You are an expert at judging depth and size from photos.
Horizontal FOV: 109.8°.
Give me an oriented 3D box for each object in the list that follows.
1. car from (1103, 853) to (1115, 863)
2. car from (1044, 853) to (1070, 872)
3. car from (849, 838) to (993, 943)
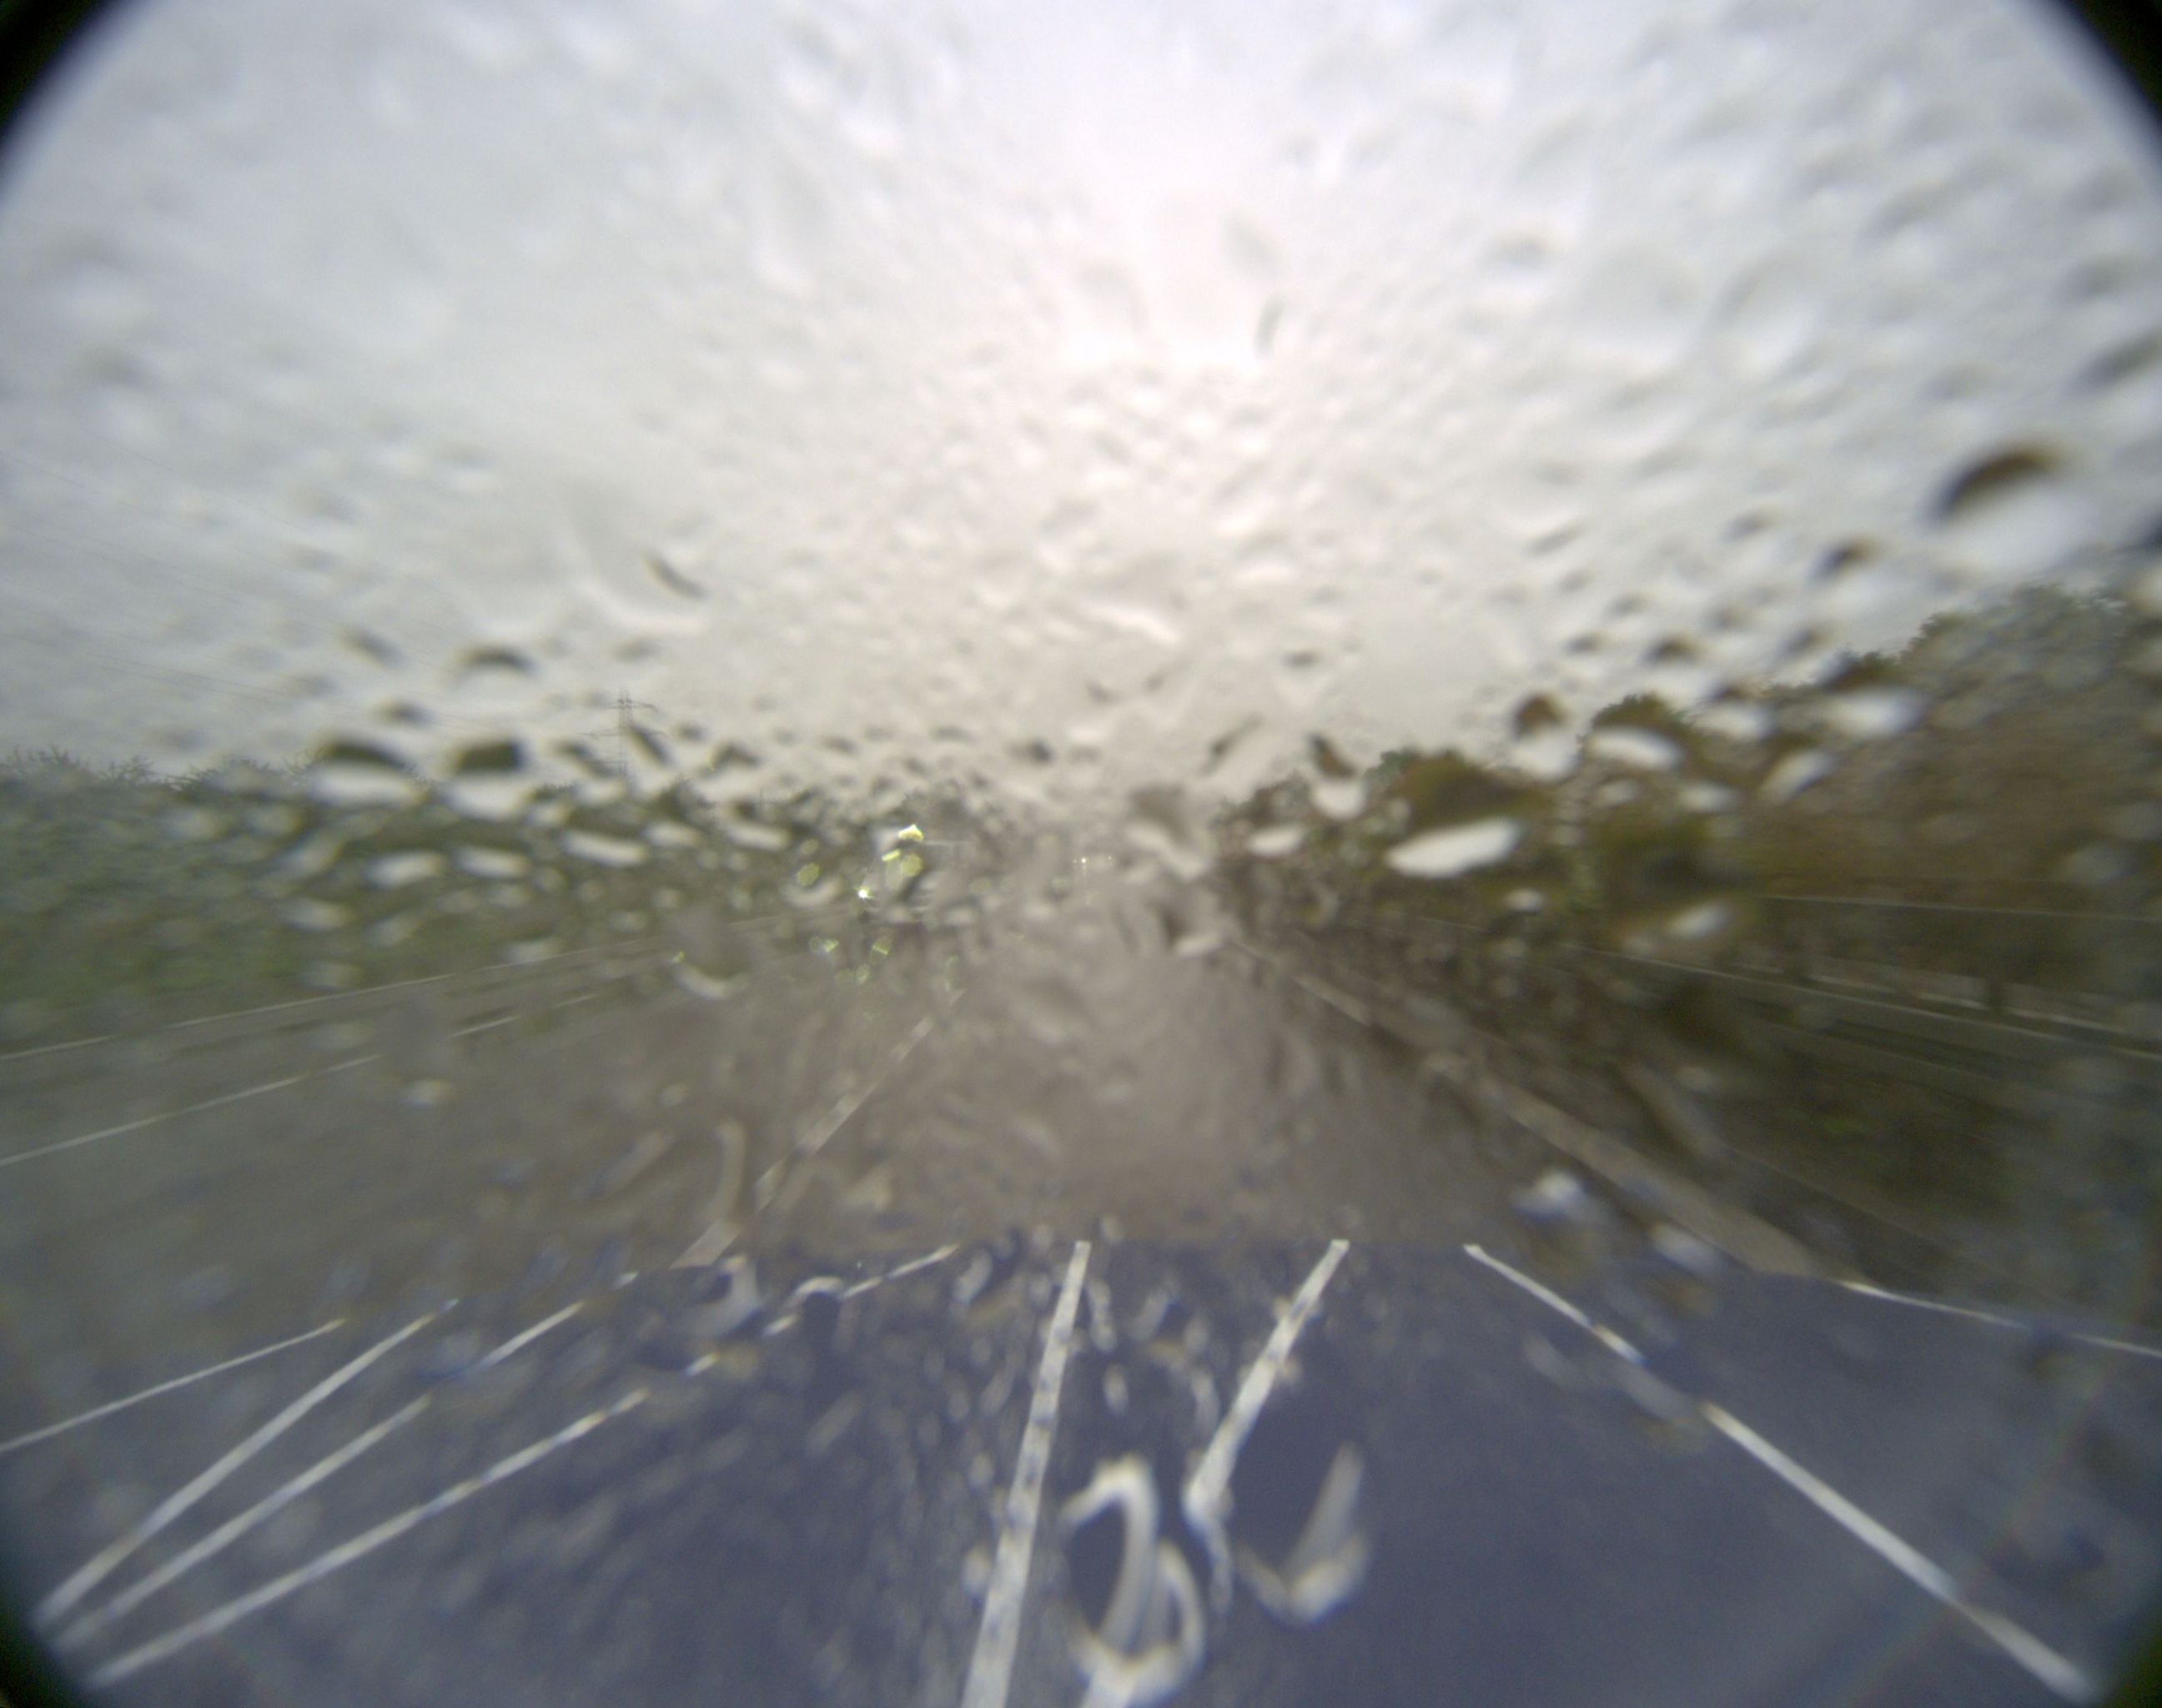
[{"bbox_3d":[4.548,0.565,121.721,1.769,1.448,3.960,-4,0,2],"label":"car"},{"bbox_3d":[-1.965,0.665,63.182,1.769,1.448,3.960,-4,0,2],"label":"car"},{"bbox_3d":[-3.324,0.695,16.898,1.892,1.873,5.009,-4,0,2],"label":"car"}]
